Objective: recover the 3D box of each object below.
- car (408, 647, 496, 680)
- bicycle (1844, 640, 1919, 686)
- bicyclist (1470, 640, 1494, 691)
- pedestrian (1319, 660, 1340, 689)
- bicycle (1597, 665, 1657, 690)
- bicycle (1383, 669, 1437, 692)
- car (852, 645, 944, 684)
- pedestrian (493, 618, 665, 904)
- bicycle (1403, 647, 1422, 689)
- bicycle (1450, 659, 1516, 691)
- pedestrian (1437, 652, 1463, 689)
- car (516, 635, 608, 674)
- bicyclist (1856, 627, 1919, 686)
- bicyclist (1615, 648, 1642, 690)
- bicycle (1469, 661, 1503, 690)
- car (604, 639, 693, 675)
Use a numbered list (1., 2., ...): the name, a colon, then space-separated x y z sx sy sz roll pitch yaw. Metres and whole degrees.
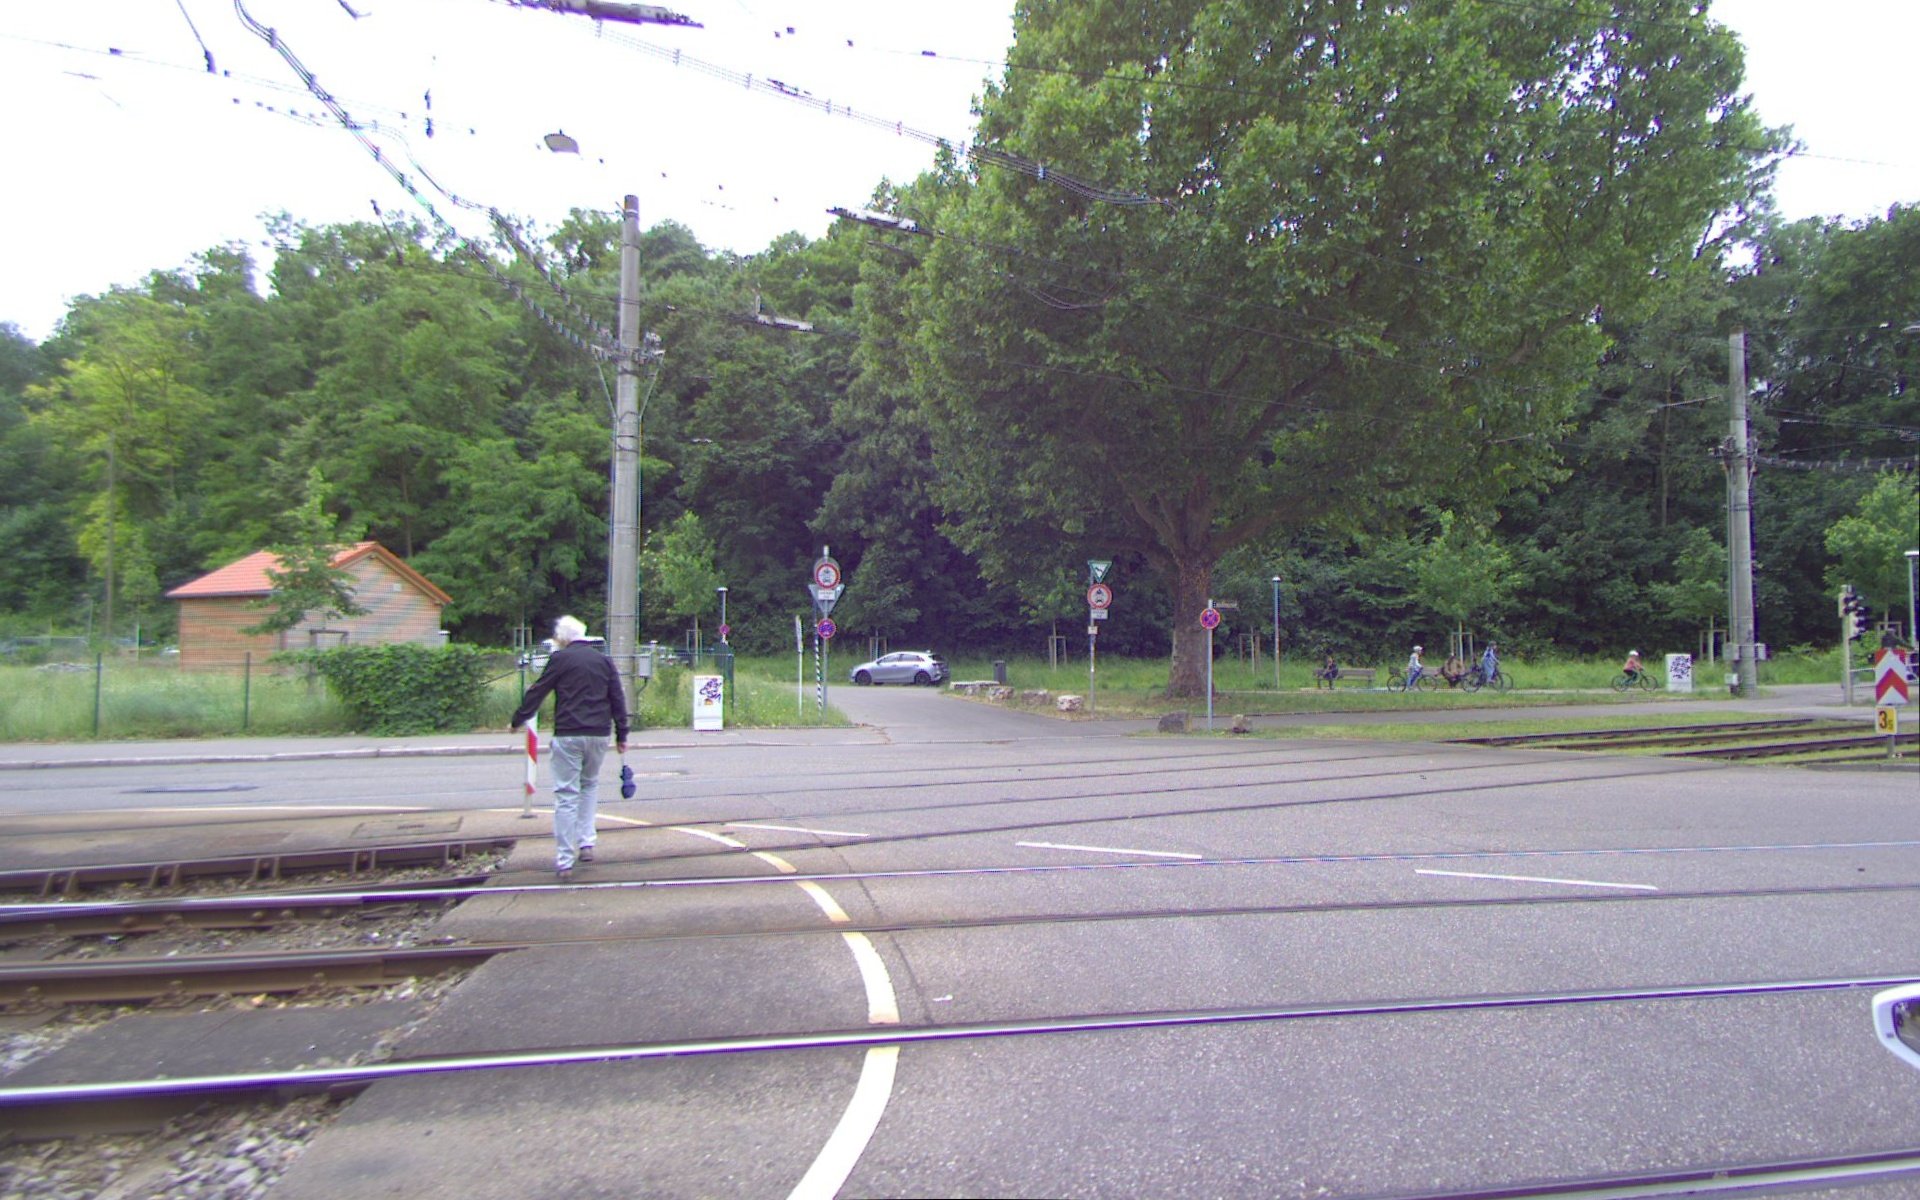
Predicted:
1. car: -24.658 3.075 48.779 3.608 1.396 1.758 1 0 18
2. bicycle: 29.512 1.927 31.172 3.279 1.307 0.736 -3 1 6
3. bicyclist: 17.541 2.197 33.758 0.611 1.697 0.475 -1 1 21
4. pedestrian: 13.371 2.691 36.387 0.607 1.003 0.532 1 0 7
5. bicycle: 21.820 2.542 32.886 1.529 0.748 0.455 -4 1 21
6. bicycle: 15.169 2.722 33.884 1.620 0.748 0.455 -2 1 20
7. car: -2.580 2.662 41.771 3.434 1.443 1.701 1 0 18
8. pedestrian: -2.680 1.028 7.023 0.807 1.783 1.108 1 0 -39
9. bicycle: 15.241 2.291 33.842 0.506 1.348 0.455 -2 1 20
10. bicycle: 17.562 2.515 33.757 1.907 1.055 0.475 -1 1 21
11. pedestrian: 17.395 2.505 35.659 0.659 1.251 0.580 1 0 5
12. car: -18.536 2.507 46.785 3.608 1.634 1.910 1 0 18
13. bicyclist: 28.873 1.740 31.236 1.266 1.734 0.736 -3 1 6
14. bicyclist: 21.864 2.255 32.854 0.570 1.318 0.455 -3 1 21
15. bicycle: 18.822 2.689 35.961 0.609 0.897 1.747 1 0 11
16. car: -13.877 2.513 44.834 3.434 1.443 1.701 1 0 18
